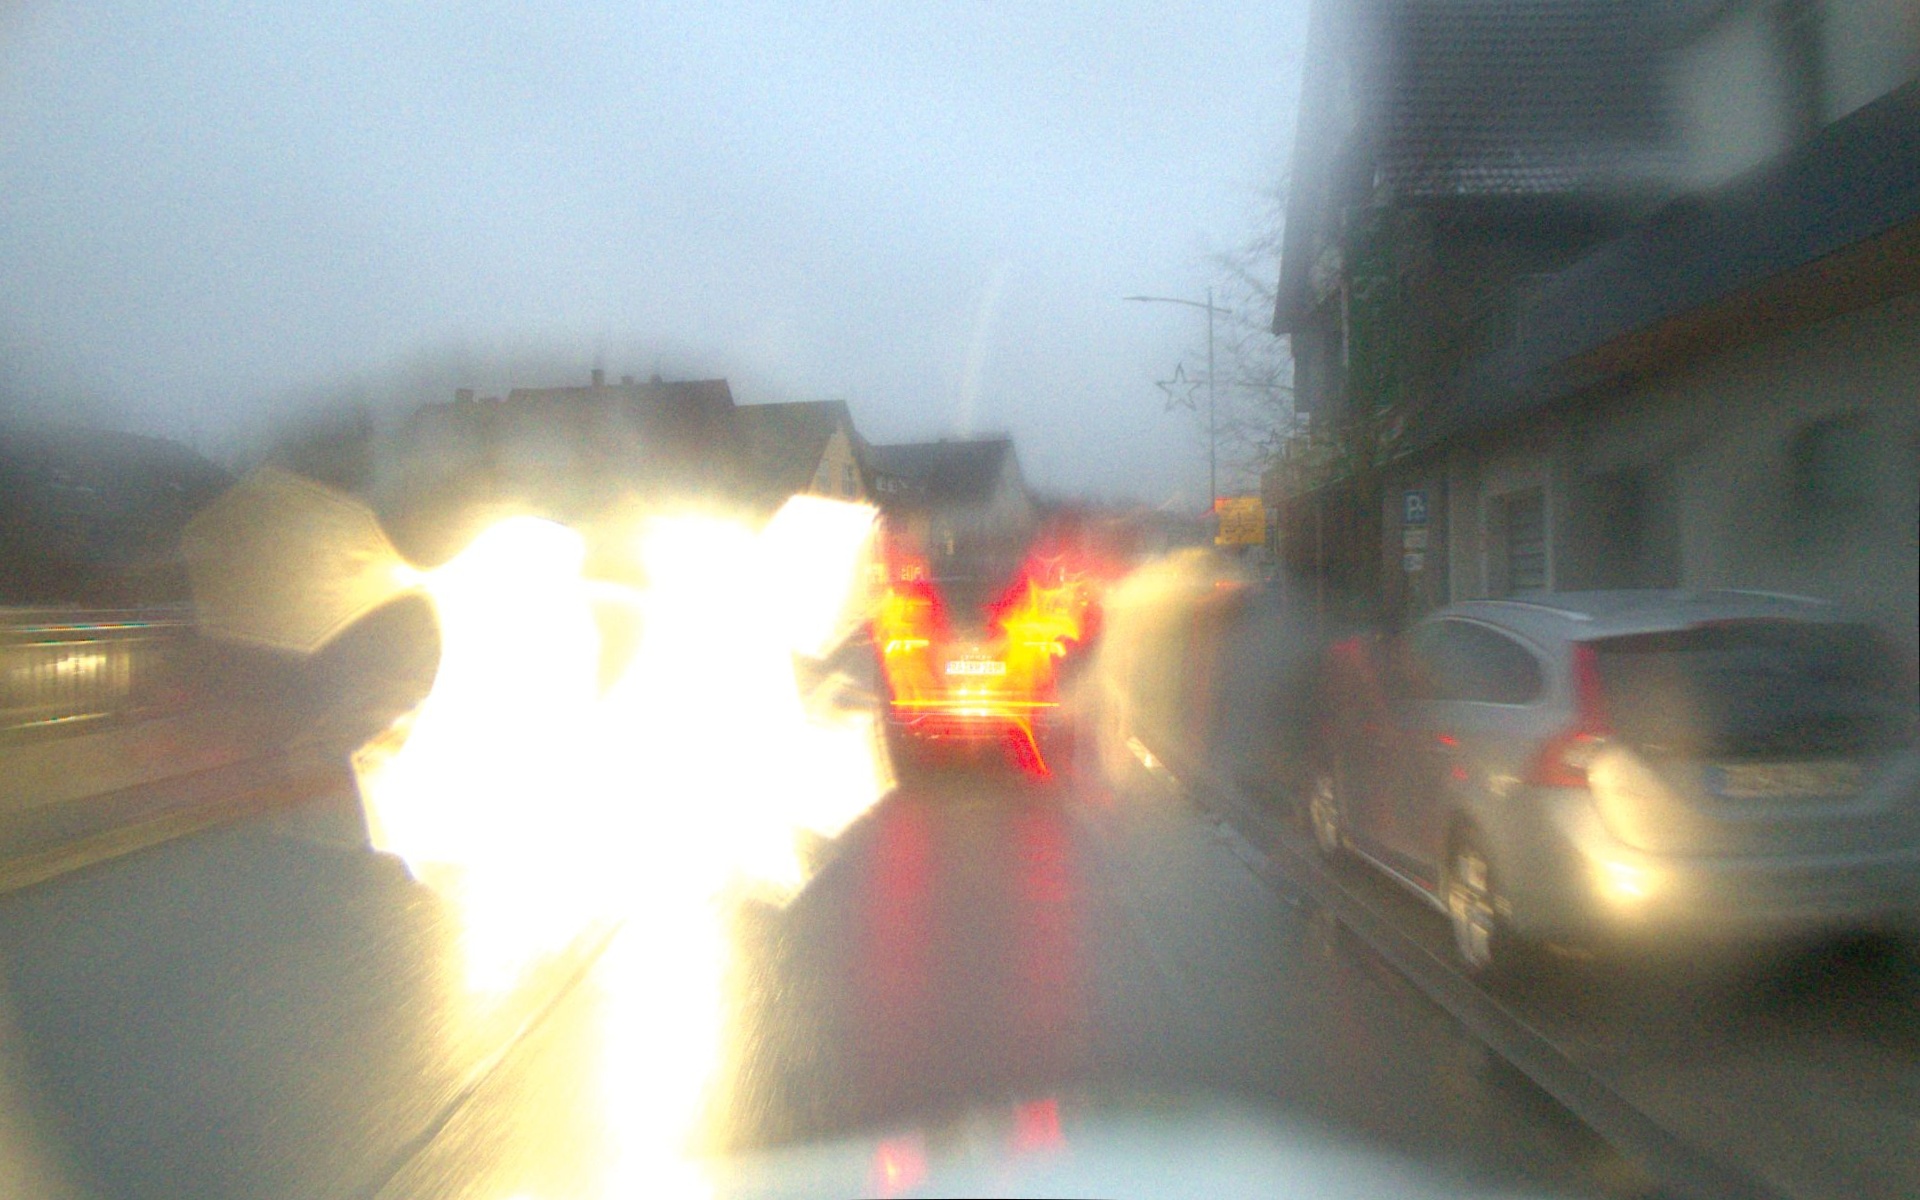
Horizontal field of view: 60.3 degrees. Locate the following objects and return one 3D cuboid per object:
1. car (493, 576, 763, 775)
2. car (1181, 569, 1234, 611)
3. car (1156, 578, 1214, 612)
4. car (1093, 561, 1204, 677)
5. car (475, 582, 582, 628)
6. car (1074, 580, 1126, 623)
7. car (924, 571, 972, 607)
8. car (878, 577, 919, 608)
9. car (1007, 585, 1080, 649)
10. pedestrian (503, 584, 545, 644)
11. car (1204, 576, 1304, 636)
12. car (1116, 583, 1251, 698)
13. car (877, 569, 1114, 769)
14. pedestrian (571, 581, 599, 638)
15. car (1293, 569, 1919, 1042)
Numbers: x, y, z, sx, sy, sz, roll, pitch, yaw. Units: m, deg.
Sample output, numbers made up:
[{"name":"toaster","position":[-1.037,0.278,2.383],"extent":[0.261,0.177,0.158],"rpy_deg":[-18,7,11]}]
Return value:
[{"name":"car","position":[-2.897,0.595,15.207],"extent":[1.697,1.563,3.781],"rpy_deg":[2,0,0]},{"name":"car","position":[13.179,-0.549,87.716],"extent":[2.112,2.025,4.503],"rpy_deg":[-4,0,16]},{"name":"car","position":[10.034,-0.229,73.486],"extent":[1.951,1.416,4.003],"rpy_deg":[-1,1,17]},{"name":"car","position":[3.363,0.289,29.490],"extent":[1.732,1.813,4.003],"rpy_deg":[-4,0,7]},{"name":"car","position":[-18.155,0.207,69.683],"extent":[3.902,1.723,1.866],"rpy_deg":[-2,1,8]},{"name":"car","position":[5.006,0.033,59.484],"extent":[1.776,1.436,4.003],"rpy_deg":[0,2,4]},{"name":"car","position":[-0.692,-0.630,92.073],"extent":[2.000,1.959,4.047],"rpy_deg":[-1,1,-10]},{"name":"car","position":[-3.473,-0.451,92.717],"extent":[1.788,1.641,4.047],"rpy_deg":[-1,1,-10]},{"name":"car","position":[2.055,0.393,41.406],"extent":[1.648,1.478,4.000],"rpy_deg":[2,0,1]},{"name":"pedestrian","position":[-13.360,0.426,50.715],"extent":[0.908,1.815,0.974],"rpy_deg":[0,1,12]},{"name":"car","position":[7.634,0.142,43.307],"extent":[1.730,1.418,3.912],"rpy_deg":[-3,0,-2]},{"name":"car","position":[3.143,0.538,23.681],"extent":[1.611,1.440,2.728],"rpy_deg":[-3,1,2]},{"name":"car","position":[0.193,0.530,15.922],"extent":[1.925,1.622,4.311],"rpy_deg":[0,1,-4]},{"name":"pedestrian","position":[-11.427,0.277,50.422],"extent":[0.649,1.727,0.542],"rpy_deg":[0,1,12]},{"name":"car","position":[2.808,0.657,7.575],"extent":[1.618,1.480,4.237],"rpy_deg":[-3,0,0]}]
